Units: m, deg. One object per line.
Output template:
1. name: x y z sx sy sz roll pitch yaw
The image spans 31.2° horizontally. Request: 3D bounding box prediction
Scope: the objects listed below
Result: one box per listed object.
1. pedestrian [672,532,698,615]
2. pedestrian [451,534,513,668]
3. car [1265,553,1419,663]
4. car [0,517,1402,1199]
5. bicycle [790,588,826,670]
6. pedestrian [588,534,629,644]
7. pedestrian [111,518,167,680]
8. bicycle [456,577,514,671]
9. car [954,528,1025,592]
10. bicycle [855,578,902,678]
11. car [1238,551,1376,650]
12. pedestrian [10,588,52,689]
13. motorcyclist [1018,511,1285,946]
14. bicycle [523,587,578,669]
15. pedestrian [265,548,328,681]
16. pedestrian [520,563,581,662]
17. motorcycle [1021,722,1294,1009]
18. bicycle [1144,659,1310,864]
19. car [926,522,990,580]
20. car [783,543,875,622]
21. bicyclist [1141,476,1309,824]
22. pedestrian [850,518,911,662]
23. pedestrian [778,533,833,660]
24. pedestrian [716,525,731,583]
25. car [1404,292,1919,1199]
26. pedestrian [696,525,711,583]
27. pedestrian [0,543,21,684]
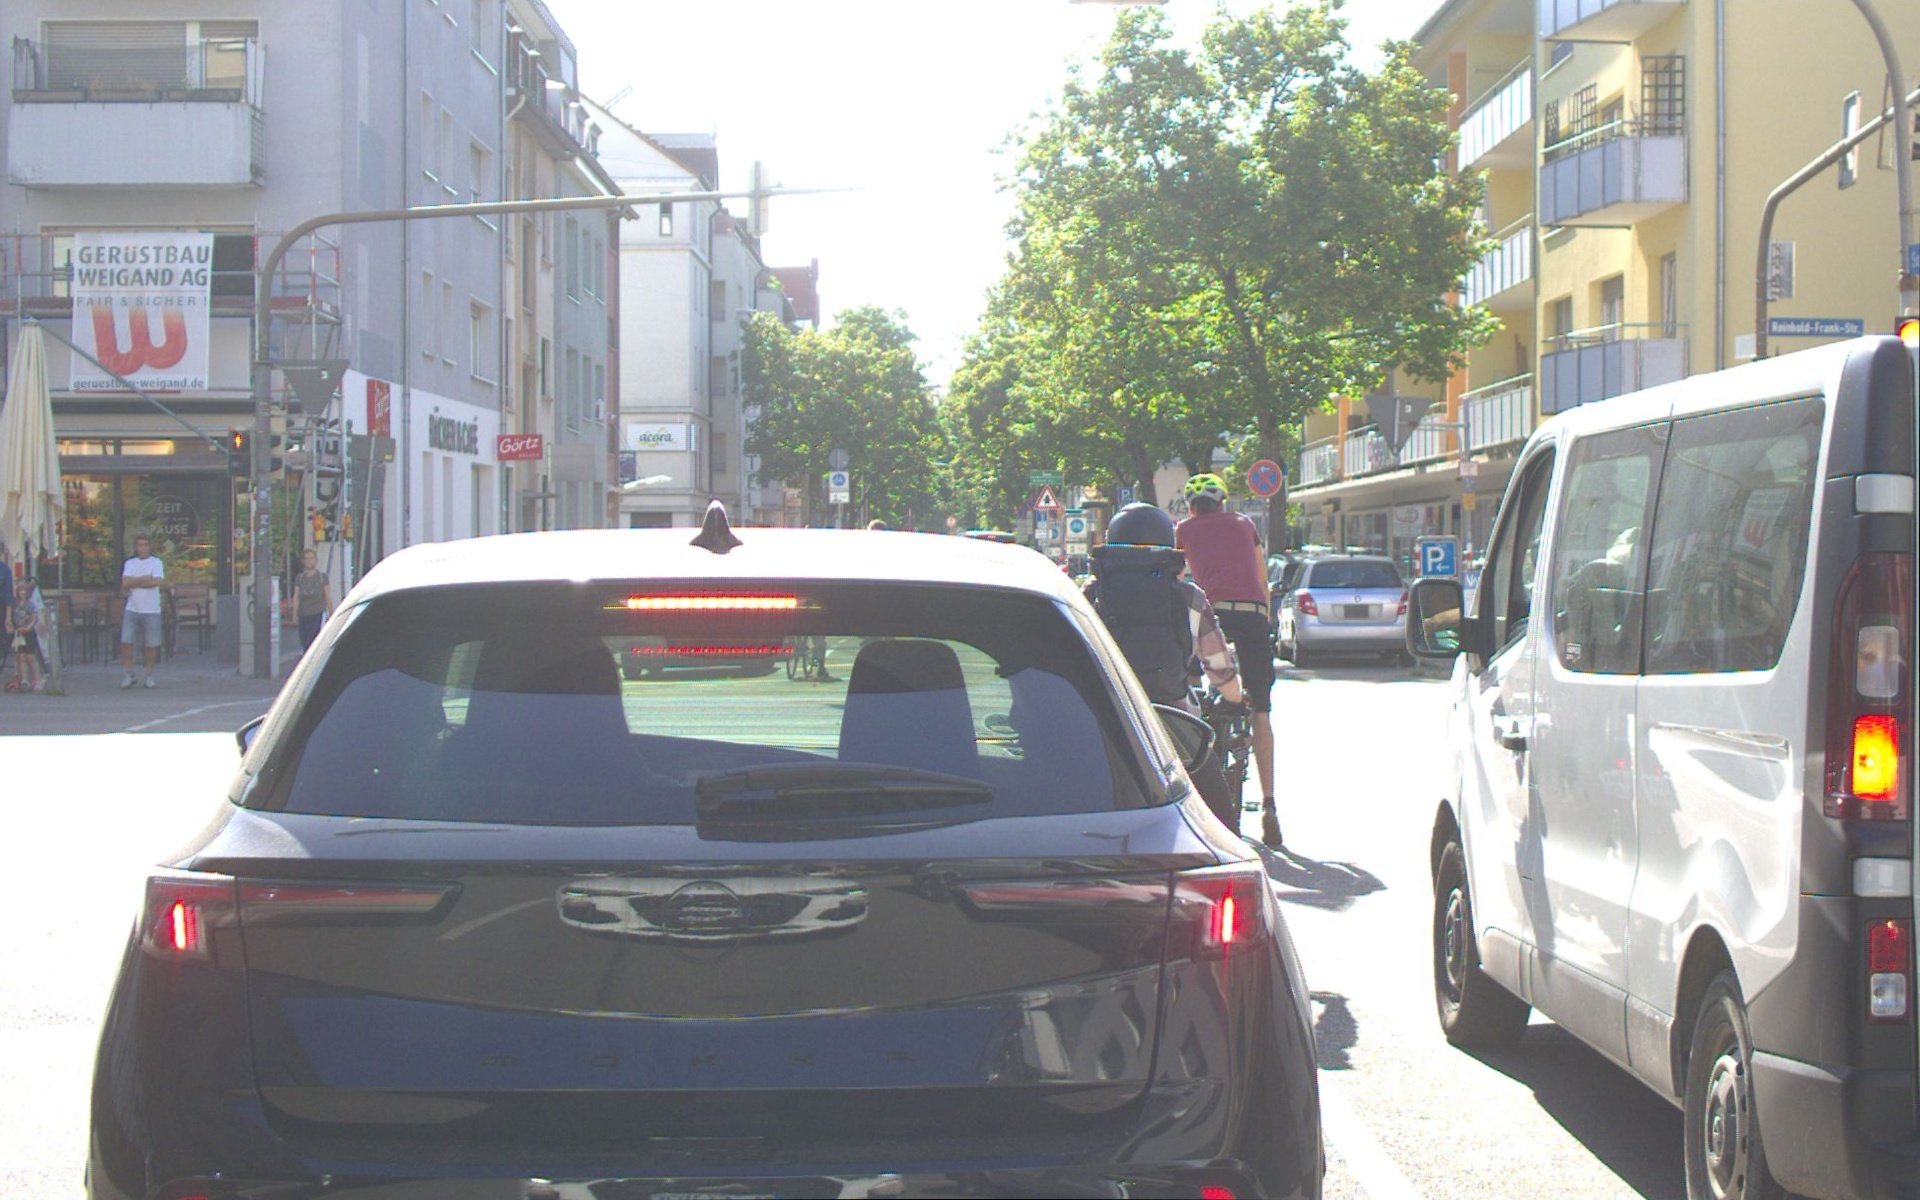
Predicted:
1. pedestrian: -5.616 -0.550 70.259 0.488 1.684 0.588 0 1 -1
2. pedestrian: -6.039 0.005 43.483 0.706 1.672 0.802 0 1 -2
3. car: 5.206 0.080 47.231 1.634 1.428 3.957 0 1 -1
4. car: -0.410 0.625 6.327 1.770 1.525 4.001 0 1 -2
5. bicycle: -1.939 0.358 43.888 0.443 0.989 2.069 0 1 -2
6. pedestrian: -5.397 -0.172 52.753 0.570 1.684 0.588 0 1 -1
7. pedestrian: -9.058 -0.011 37.937 0.561 1.769 0.584 0 1 -9
8. bicycle: -6.031 0.290 43.723 0.521 1.143 2.284 0 1 -2
9. car: 0.785 -1.111 94.084 1.902 1.722 4.073 0 1 0
10. bicycle: -0.987 0.320 41.225 0.521 1.143 2.170 0 1 -2
11. car: 5.209 -0.017 51.942 1.634 1.428 4.000 0 1 -1
12. pedestrian: -10.105 0.412 37.405 0.355 1.088 0.462 0 1 -3
13. motorcyclist: 0.669 0.434 12.401 0.864 1.497 1.160 0 1 -2
14. bicycle: -5.205 0.340 43.779 0.521 0.989 2.340 0 1 -2
15. pedestrian: -7.608 0.160 39.416 0.617 1.516 0.725 0 1 -3
16. pedestrian: -5.188 0.153 43.560 0.706 1.249 0.802 0 1 -2
17. motorcycle: 0.663 0.903 12.197 0.825 0.842 1.885 0 1 -1
18. bicycle: 1.336 0.791 17.572 0.577 0.901 2.301 0 1 -2
19. car: -0.065 -1.500 104.357 1.902 1.722 4.000 0 1 0
20. car: -2.912 -0.421 77.086 1.825 1.722 4.000 0 1 1
21. bicyclist: 1.337 0.237 17.577 0.689 1.707 1.414 0 1 -2
22. pedestrian: -0.952 -0.122 41.046 0.706 1.695 0.802 0 1 -2
23. pedestrian: -1.964 -0.052 43.748 0.680 1.600 0.762 0 1 -2
24. pedestrian: -6.903 -1.342 100.256 0.402 1.669 0.418 0 1 -1
25. car: 2.449 0.423 8.524 1.993 1.972 4.895 1 1 0
26. pedestrian: -7.508 -1.348 100.502 0.402 1.669 0.418 0 1 -1
27. pedestrian: -10.584 0.141 37.403 0.584 1.516 0.650 0 1 -3
